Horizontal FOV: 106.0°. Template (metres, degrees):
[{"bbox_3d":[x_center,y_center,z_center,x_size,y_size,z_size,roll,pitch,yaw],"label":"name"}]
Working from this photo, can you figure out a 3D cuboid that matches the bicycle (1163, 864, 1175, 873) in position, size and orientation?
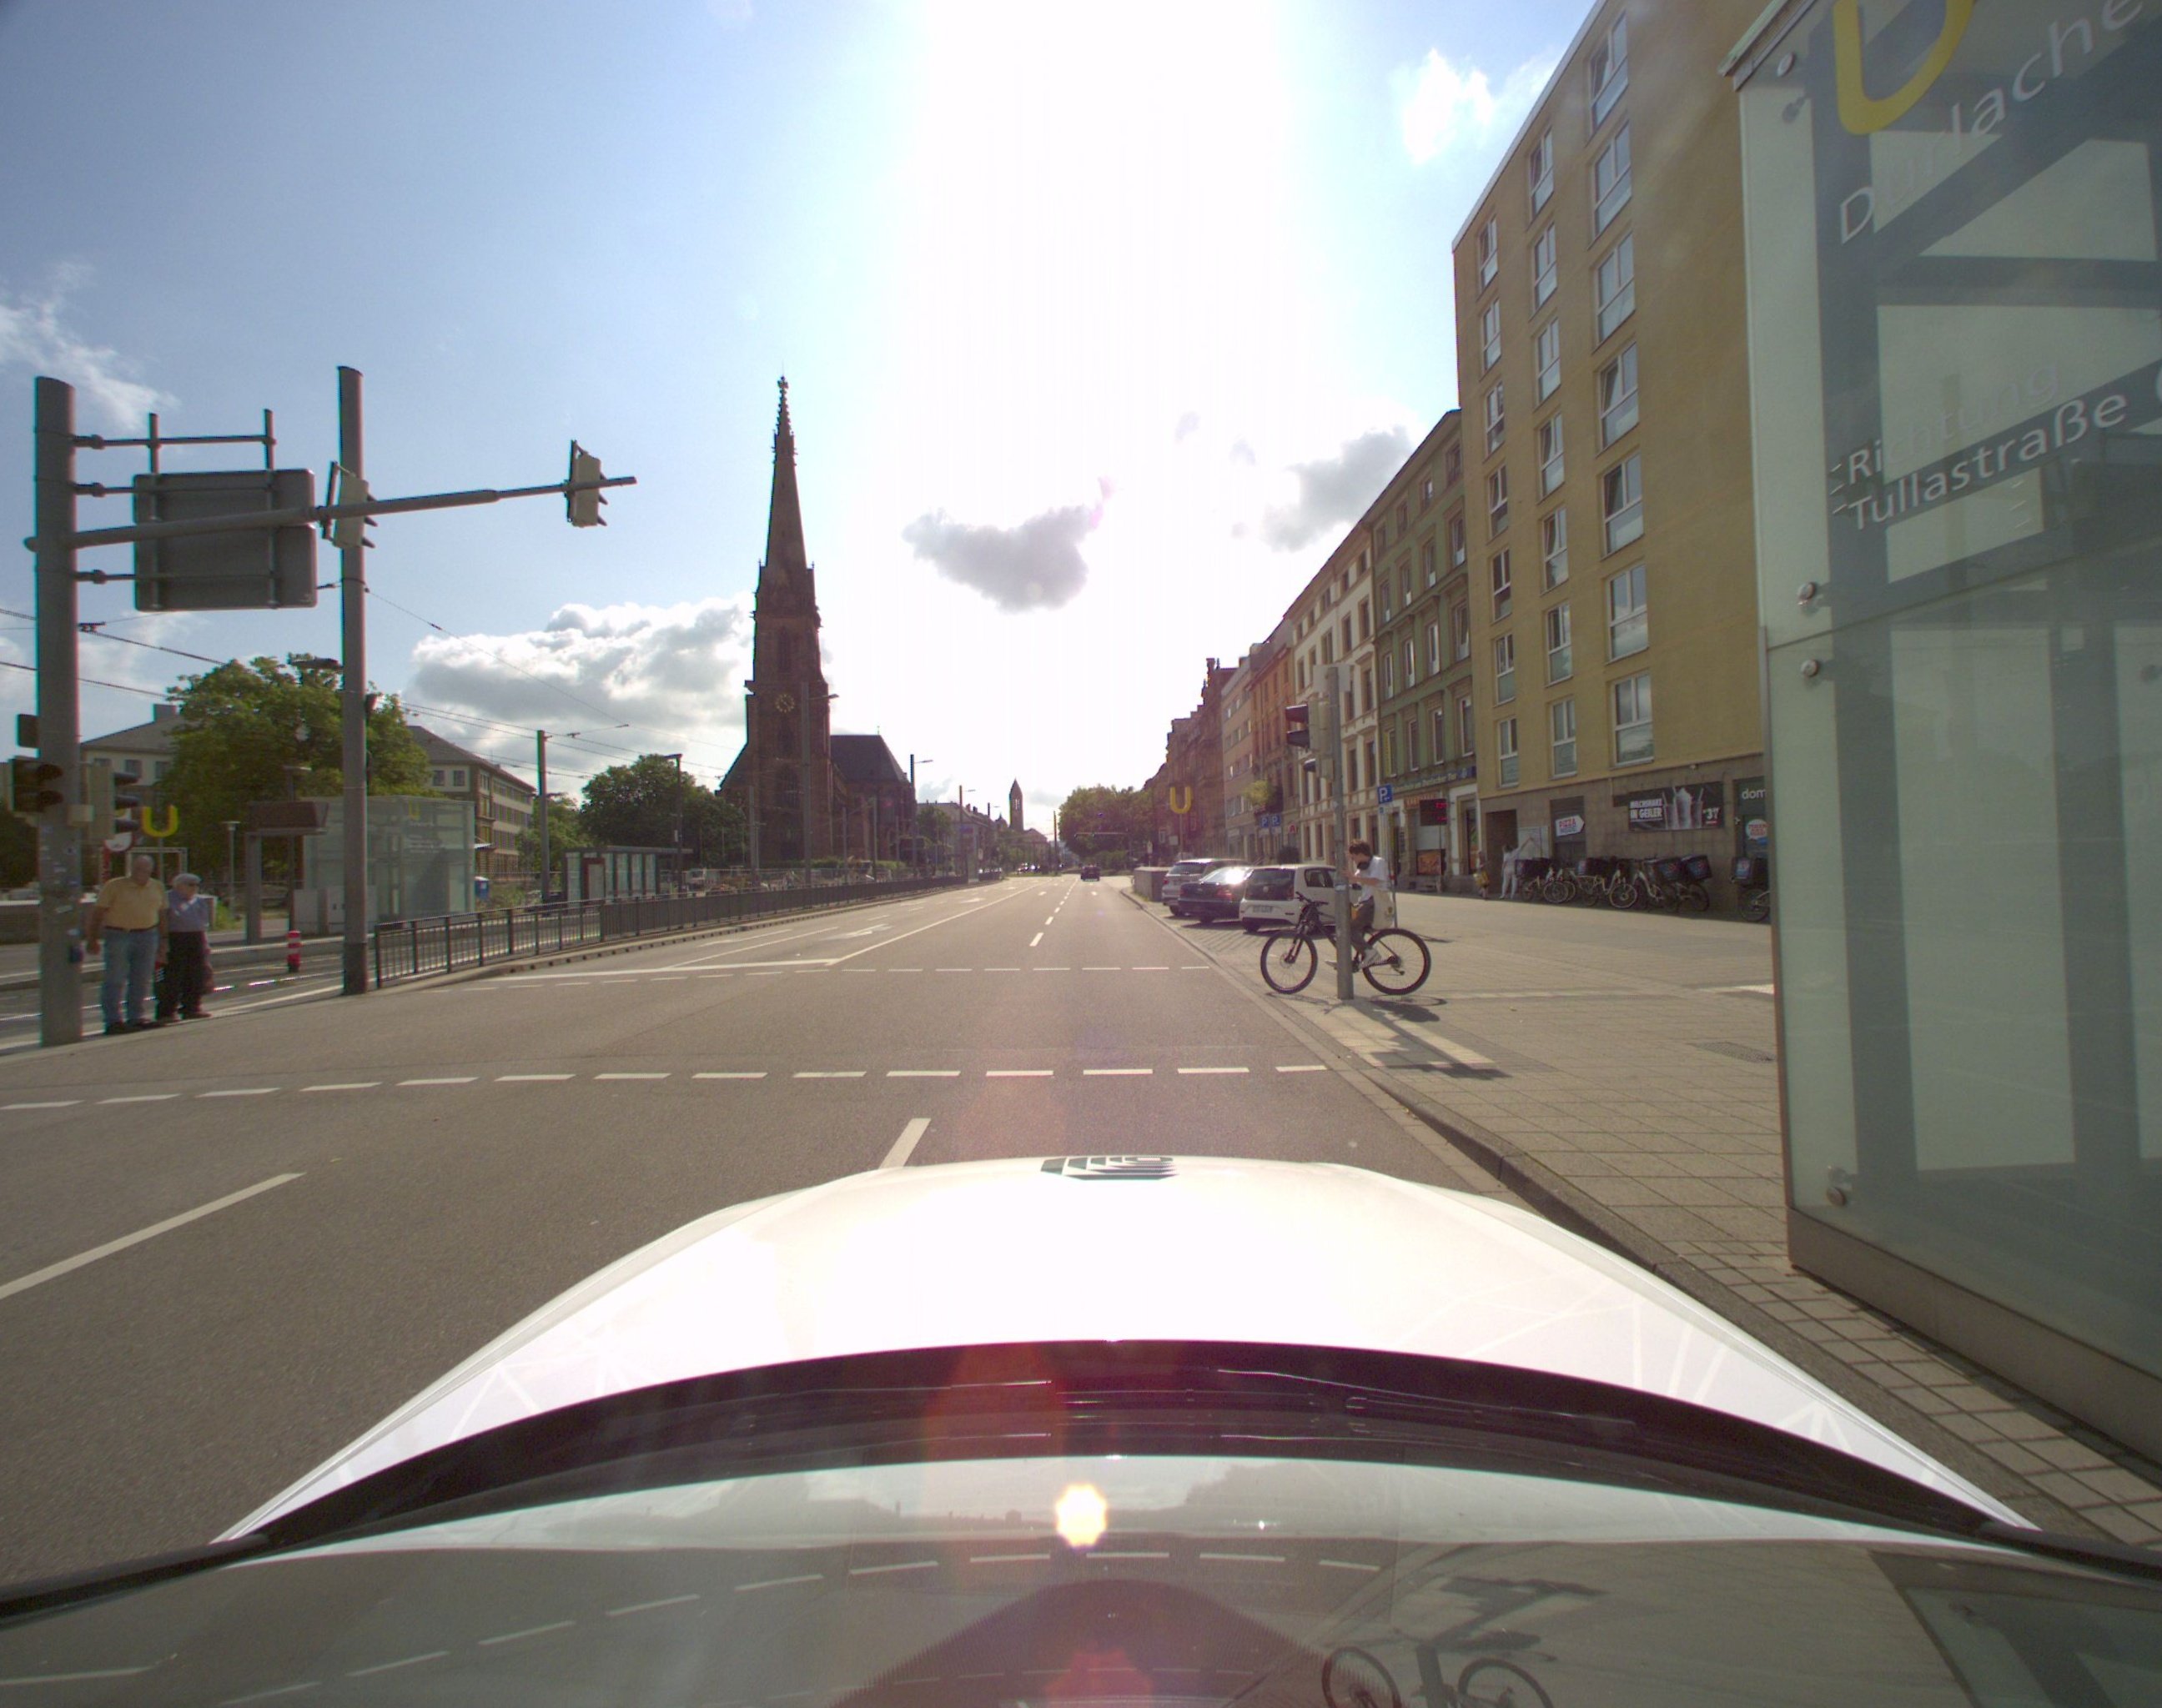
[{"bbox_3d":[13.137,2.231,121.576,1.738,1.268,0.467,-2,1,3],"label":"bicycle"}]

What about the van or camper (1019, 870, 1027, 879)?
[{"bbox_3d":[-18.272,6.331,255.312,2.250,2.738,6.196,-2,-1,-3],"label":"van or camper"}]

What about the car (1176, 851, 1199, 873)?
[{"bbox_3d":[12.706,1.006,97.544,1.987,2.525,5.888,-2,-1,0],"label":"car"}]

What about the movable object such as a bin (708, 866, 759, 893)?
[{"bbox_3d":[-40.827,3.016,95.811,5.133,2.911,1.995,-2,-1,-7],"label":"movable object such as a bin"}]

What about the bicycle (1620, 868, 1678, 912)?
[{"bbox_3d":[12.813,0.796,18.406,0.291,0.922,1.464,-2,-1,1],"label":"bicycle"}]

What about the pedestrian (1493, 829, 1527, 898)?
[{"bbox_3d":[13.071,0.282,24.817,0.599,2.013,0.460,-7,1,0],"label":"pedestrian"}]

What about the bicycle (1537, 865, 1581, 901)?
[{"bbox_3d":[13.314,0.788,22.705,0.291,0.922,1.463,-2,1,-2],"label":"bicycle"}]

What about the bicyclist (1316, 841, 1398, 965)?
[{"bbox_3d":[3.097,0.531,9.135,0.774,1.336,0.397,-1,1,29],"label":"bicyclist"}]

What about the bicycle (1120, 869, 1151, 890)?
[{"bbox_3d":[3.480,1.605,52.104,1.926,1.237,0.439,-2,1,-13],"label":"bicycle"}]

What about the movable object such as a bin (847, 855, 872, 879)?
[{"bbox_3d":[-30.350,1.735,111.553,1.984,3.105,4.006,-2,1,4],"label":"movable object such as a bin"}]

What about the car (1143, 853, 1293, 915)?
[{"bbox_3d":[4.231,0.851,24.731,4.622,1.647,2.036,-1,-1,-43],"label":"car"}]

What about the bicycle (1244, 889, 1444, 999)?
[{"bbox_3d":[2.961,0.978,9.243,2.074,1.106,0.547,-1,1,27],"label":"bicycle"}]

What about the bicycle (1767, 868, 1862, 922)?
[{"bbox_3d":[13.379,0.723,14.899,0.292,0.922,1.450,-2,-1,-5],"label":"bicycle"}]

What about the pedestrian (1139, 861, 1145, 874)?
[{"bbox_3d":[9.424,2.073,125.628,0.765,2.014,0.715,-2,-1,1],"label":"pedestrian"}]

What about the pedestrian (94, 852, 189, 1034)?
[{"bbox_3d":[-10.823,0.998,9.396,0.426,2.014,0.576,-2,-1,-11],"label":"pedestrian"}]

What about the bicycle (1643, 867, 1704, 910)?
[{"bbox_3d":[13.355,0.757,18.399,0.291,0.922,1.464,-2,-1,1],"label":"bicycle"}]

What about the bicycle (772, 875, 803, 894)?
[{"bbox_3d":[-23.269,2.398,64.645,1.190,1.427,3.691,-2,-1,-1],"label":"bicycle"}]

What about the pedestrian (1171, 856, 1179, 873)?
[{"bbox_3d":[10.552,1.187,91.647,0.662,1.837,0.693,-2,-1,-6],"label":"pedestrian"}]

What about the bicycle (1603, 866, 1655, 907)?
[{"bbox_3d":[13.452,0.781,20.026,0.291,0.922,1.465,-2,1,1],"label":"bicycle"}]

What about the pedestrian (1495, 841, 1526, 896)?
[{"bbox_3d":[13.155,0.436,24.934,0.599,1.618,0.460,-5,1,0],"label":"pedestrian"}]

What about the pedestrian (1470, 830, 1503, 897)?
[{"bbox_3d":[12.676,0.279,25.474,0.599,2.013,0.460,-7,1,0],"label":"pedestrian"}]

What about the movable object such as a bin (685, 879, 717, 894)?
[{"bbox_3d":[-40.708,3.457,87.360,1.995,1.502,5.132,-2,-1,-12],"label":"movable object such as a bin"}]

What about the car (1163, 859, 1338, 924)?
[{"bbox_3d":[4.442,0.897,20.975,4.623,1.460,1.916,0,-1,-40],"label":"car"}]

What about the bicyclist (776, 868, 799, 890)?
[{"bbox_3d":[-23.277,1.955,64.670,1.174,1.684,1.683,-2,-1,-2],"label":"bicyclist"}]

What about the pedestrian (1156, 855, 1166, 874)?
[{"bbox_3d":[7.902,1.054,80.660,0.665,1.903,0.690,-2,-1,-18],"label":"pedestrian"}]

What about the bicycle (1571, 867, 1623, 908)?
[{"bbox_3d":[12.802,0.810,20.230,0.291,0.922,1.463,-2,1,-2],"label":"bicycle"}]

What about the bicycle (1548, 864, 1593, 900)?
[{"bbox_3d":[13.631,0.766,22.717,0.291,0.922,1.463,-2,0,-2],"label":"bicycle"}]

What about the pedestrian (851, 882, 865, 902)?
[{"bbox_3d":[-23.190,3.968,84.784,1.061,2.014,1.052,-2,-1,3],"label":"pedestrian"}]

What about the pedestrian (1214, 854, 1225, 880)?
[{"bbox_3d":[11.217,1.066,66.042,0.718,2.099,0.786,-2,1,0],"label":"pedestrian"}]

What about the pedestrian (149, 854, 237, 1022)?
[{"bbox_3d":[-11.038,1.019,10.134,0.502,2.014,0.513,-2,-1,-12],"label":"pedestrian"}]

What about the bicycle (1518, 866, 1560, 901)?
[{"bbox_3d":[12.862,0.820,22.902,0.291,0.922,1.463,-2,0,-2],"label":"bicycle"}]

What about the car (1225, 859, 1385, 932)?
[{"bbox_3d":[5.052,0.869,18.212,3.514,1.453,1.758,0,-2,-41],"label":"car"}]

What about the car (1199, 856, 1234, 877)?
[{"bbox_3d":[12.447,1.185,75.205,1.990,1.862,4.743,-2,-2,-5],"label":"car"}]

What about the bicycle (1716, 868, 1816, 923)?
[{"bbox_3d":[12.690,0.746,15.141,0.292,0.922,1.607,-2,0,-9],"label":"bicycle"}]

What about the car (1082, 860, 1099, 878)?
[{"bbox_3d":[0.996,1.627,87.459,1.684,1.711,3.607,-2,1,-1],"label":"car"}]
